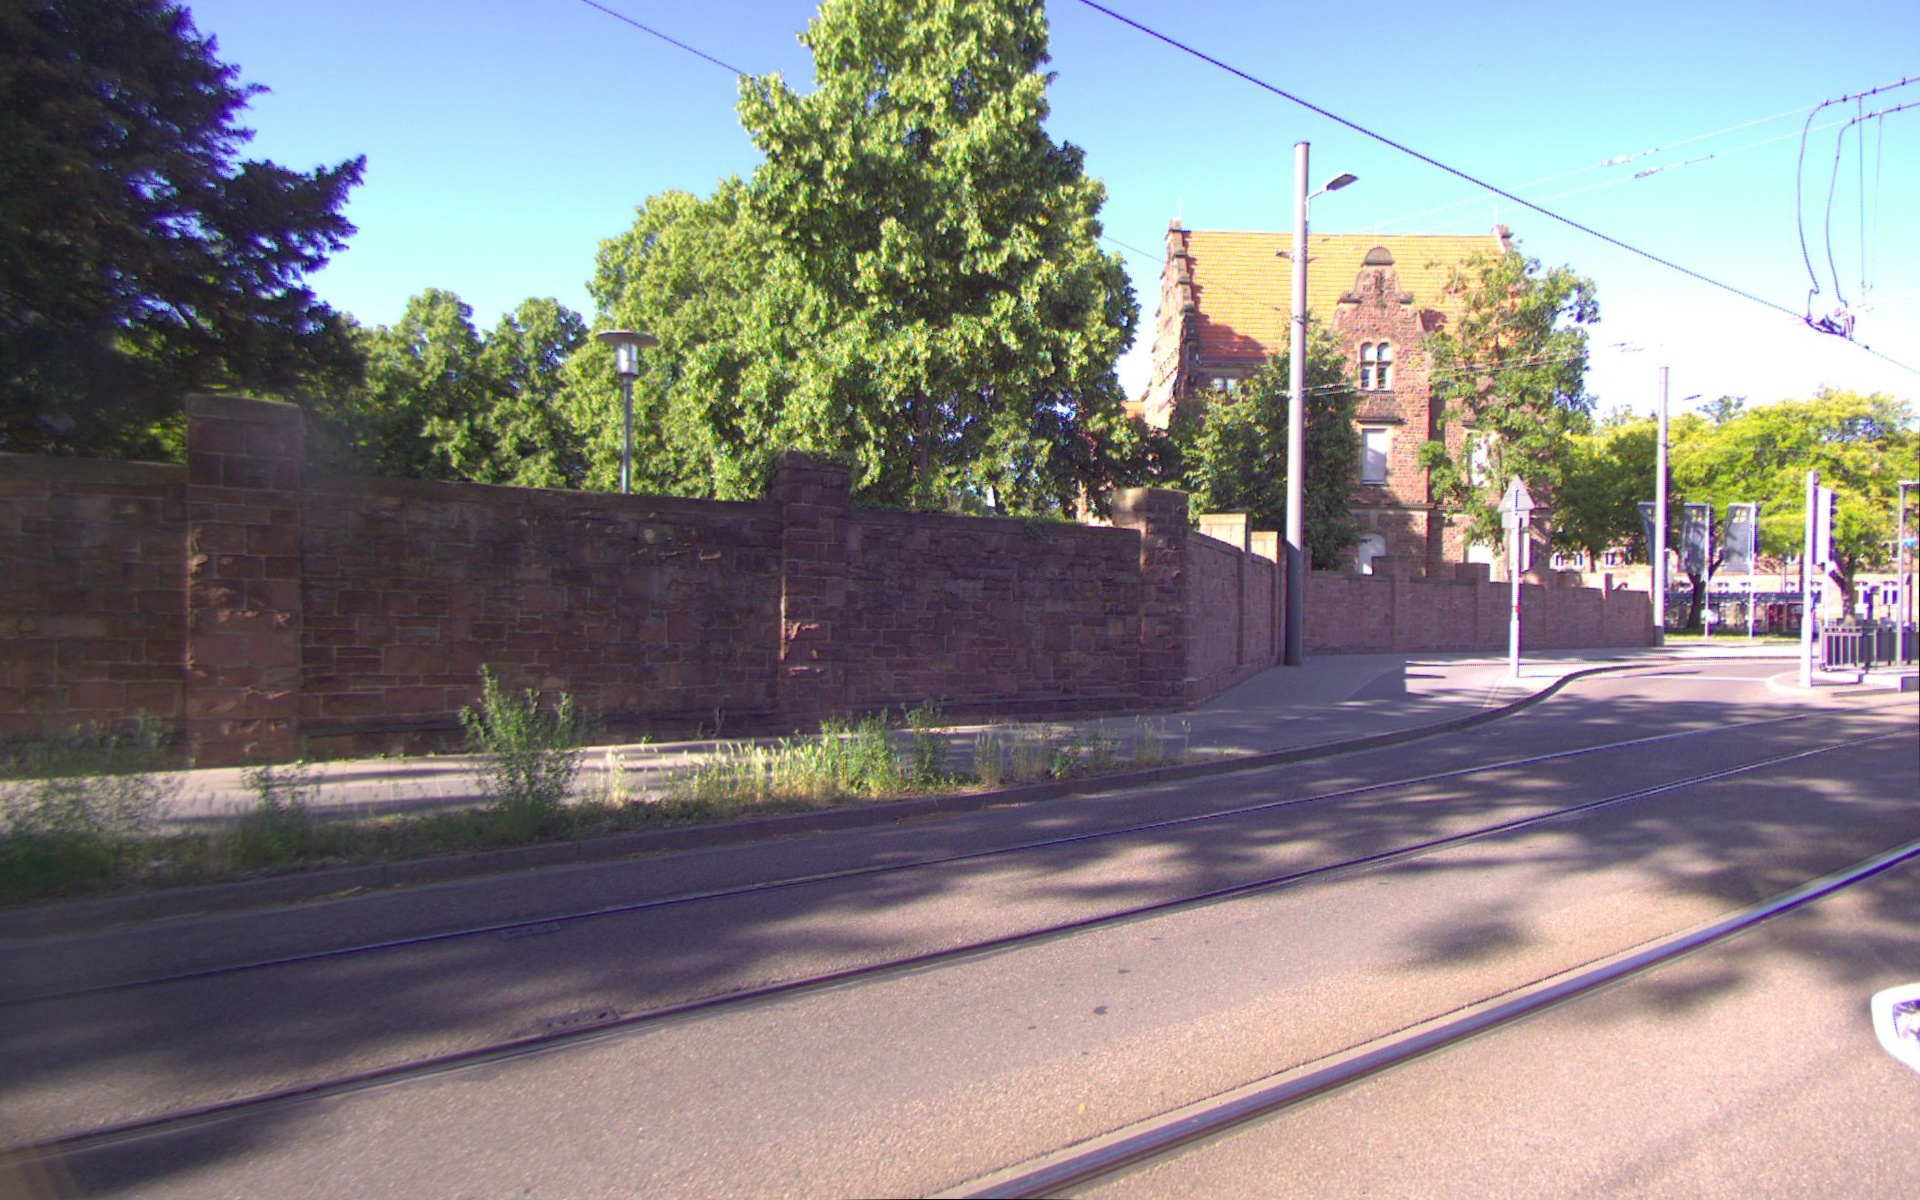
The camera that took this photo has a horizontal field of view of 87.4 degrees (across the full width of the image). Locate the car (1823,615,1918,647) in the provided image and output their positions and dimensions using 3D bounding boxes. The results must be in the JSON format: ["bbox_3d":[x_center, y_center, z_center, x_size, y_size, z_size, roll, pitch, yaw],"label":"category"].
[{"bbox_3d":[56.099,1.905,61.935,1.979,1.813,3.963,1,0,-33],"label":"car"}]
